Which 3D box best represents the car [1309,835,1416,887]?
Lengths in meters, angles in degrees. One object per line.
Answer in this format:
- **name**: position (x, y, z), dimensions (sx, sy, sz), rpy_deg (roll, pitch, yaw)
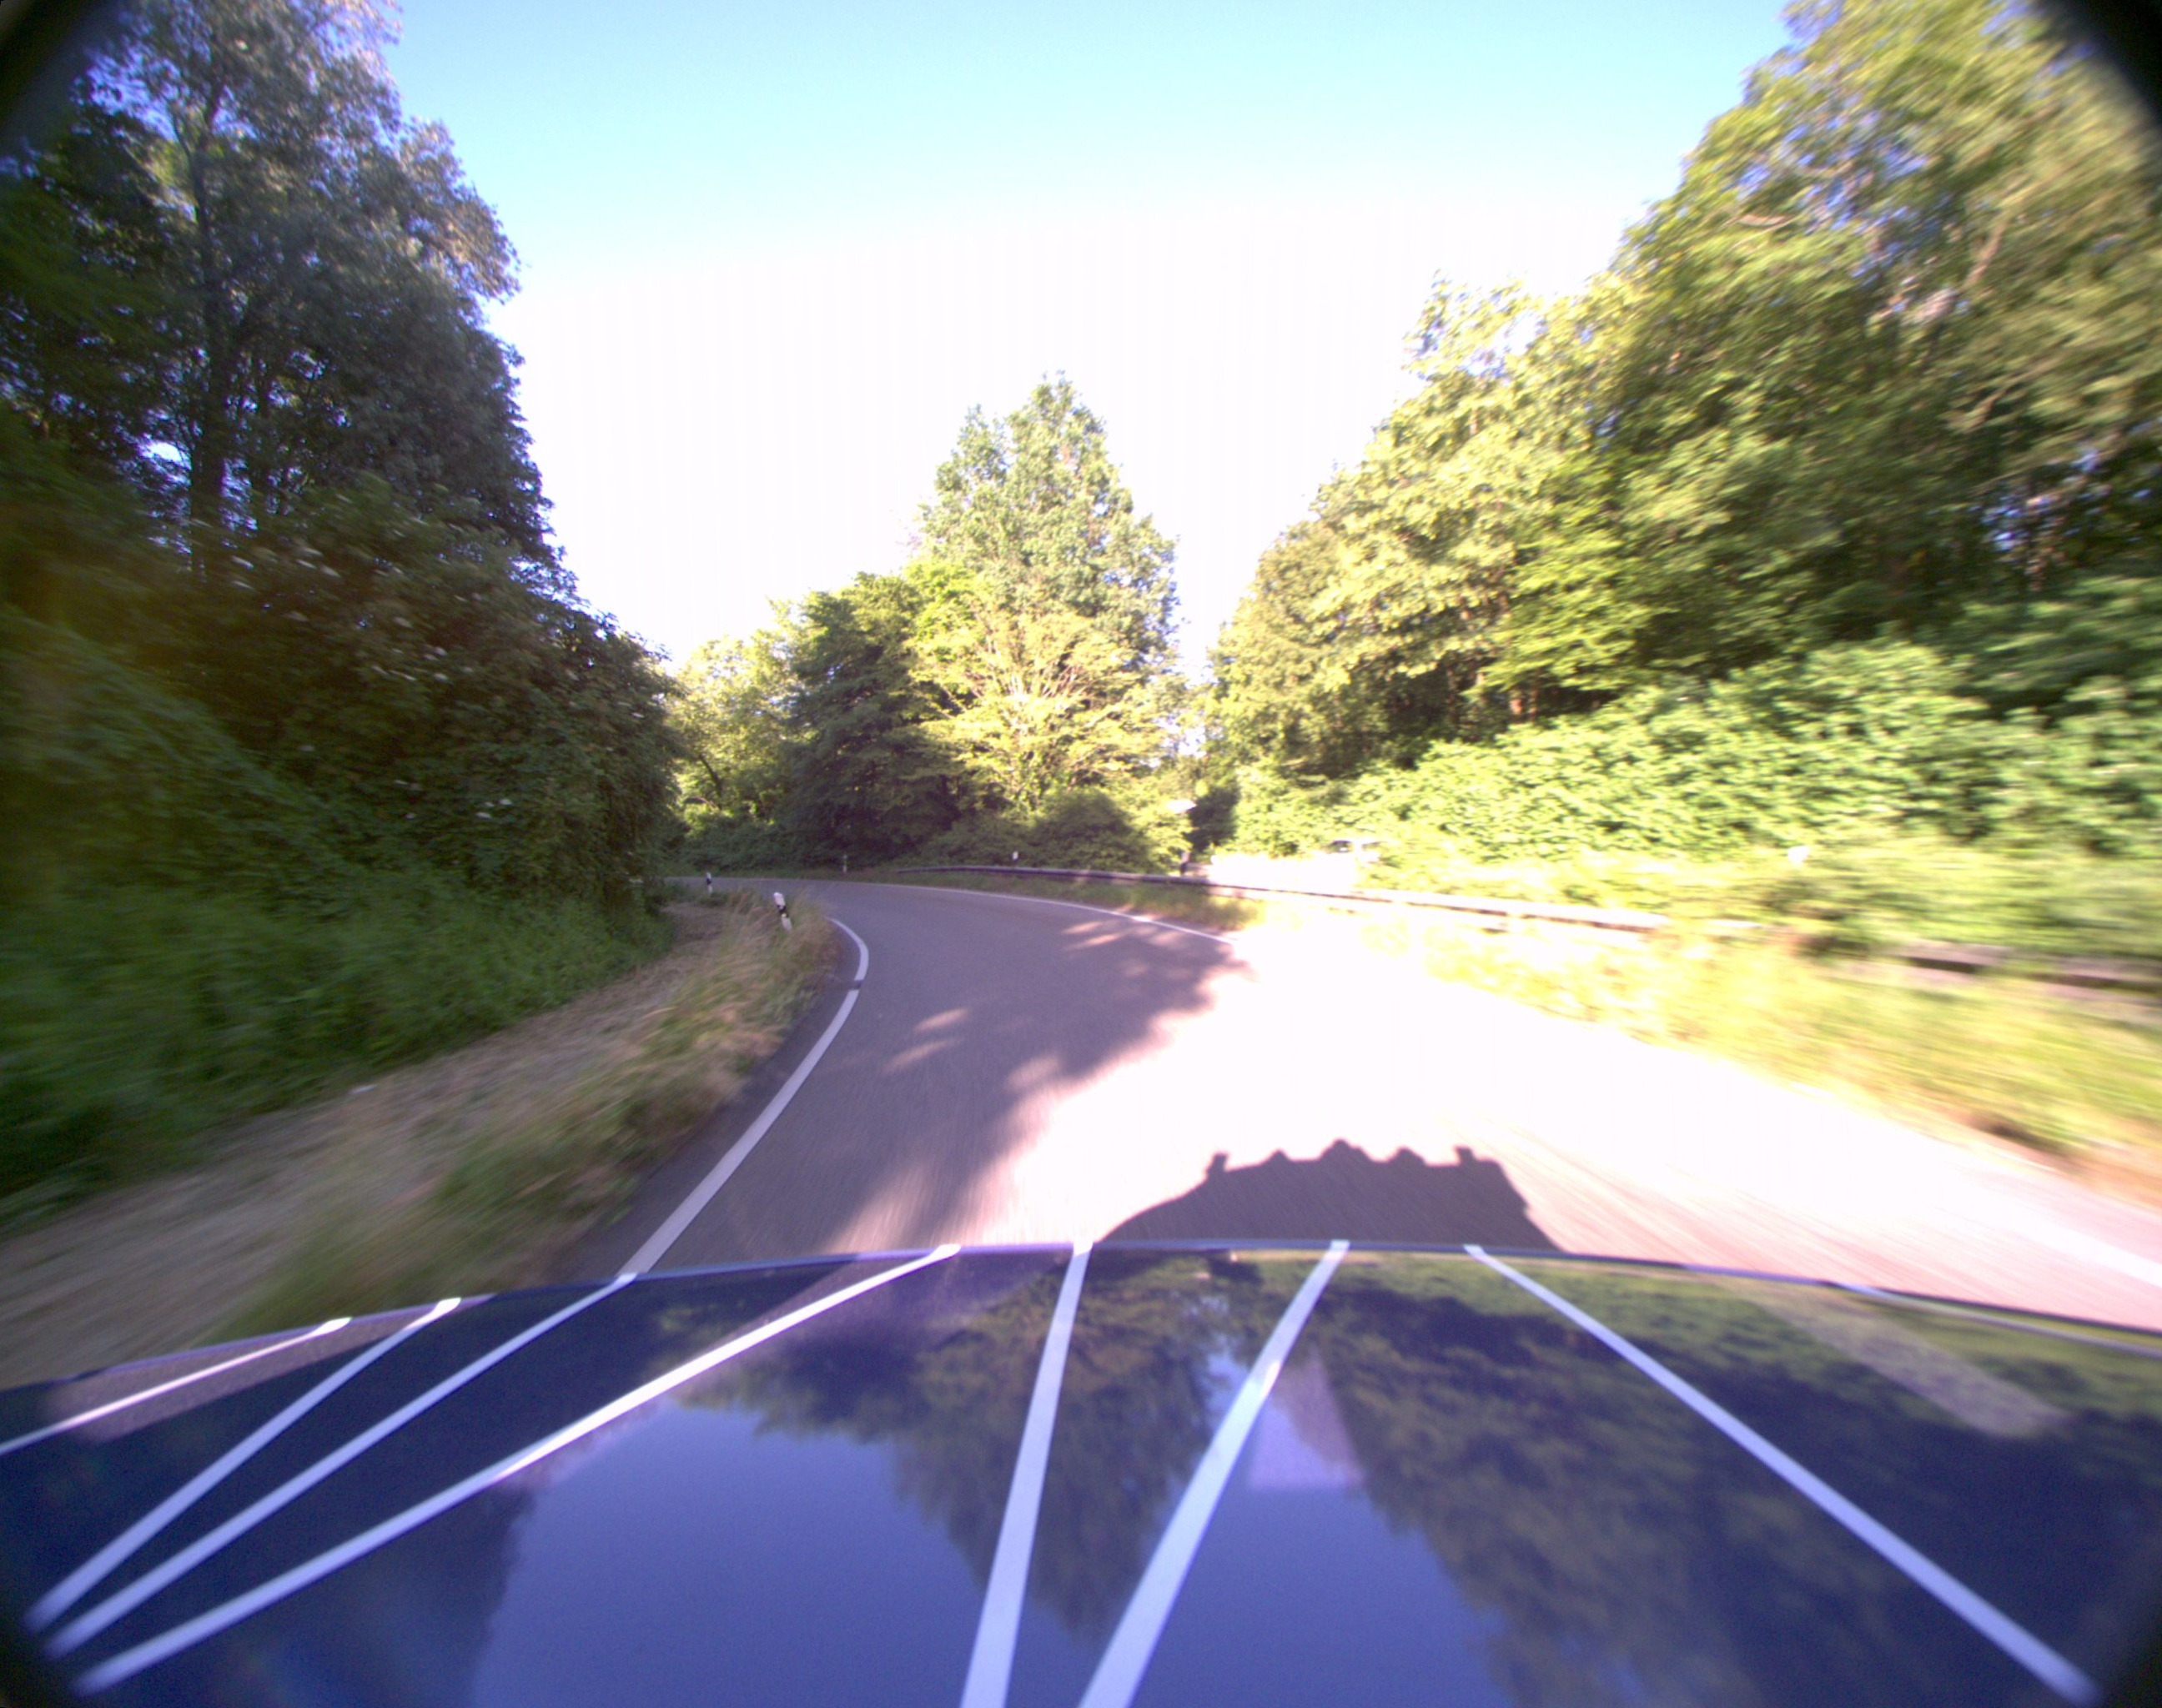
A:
- **car**: position (8.826, 0.180, 24.207), dimensions (1.726, 1.479, 3.998), rpy_deg (-2, 1, -3)
